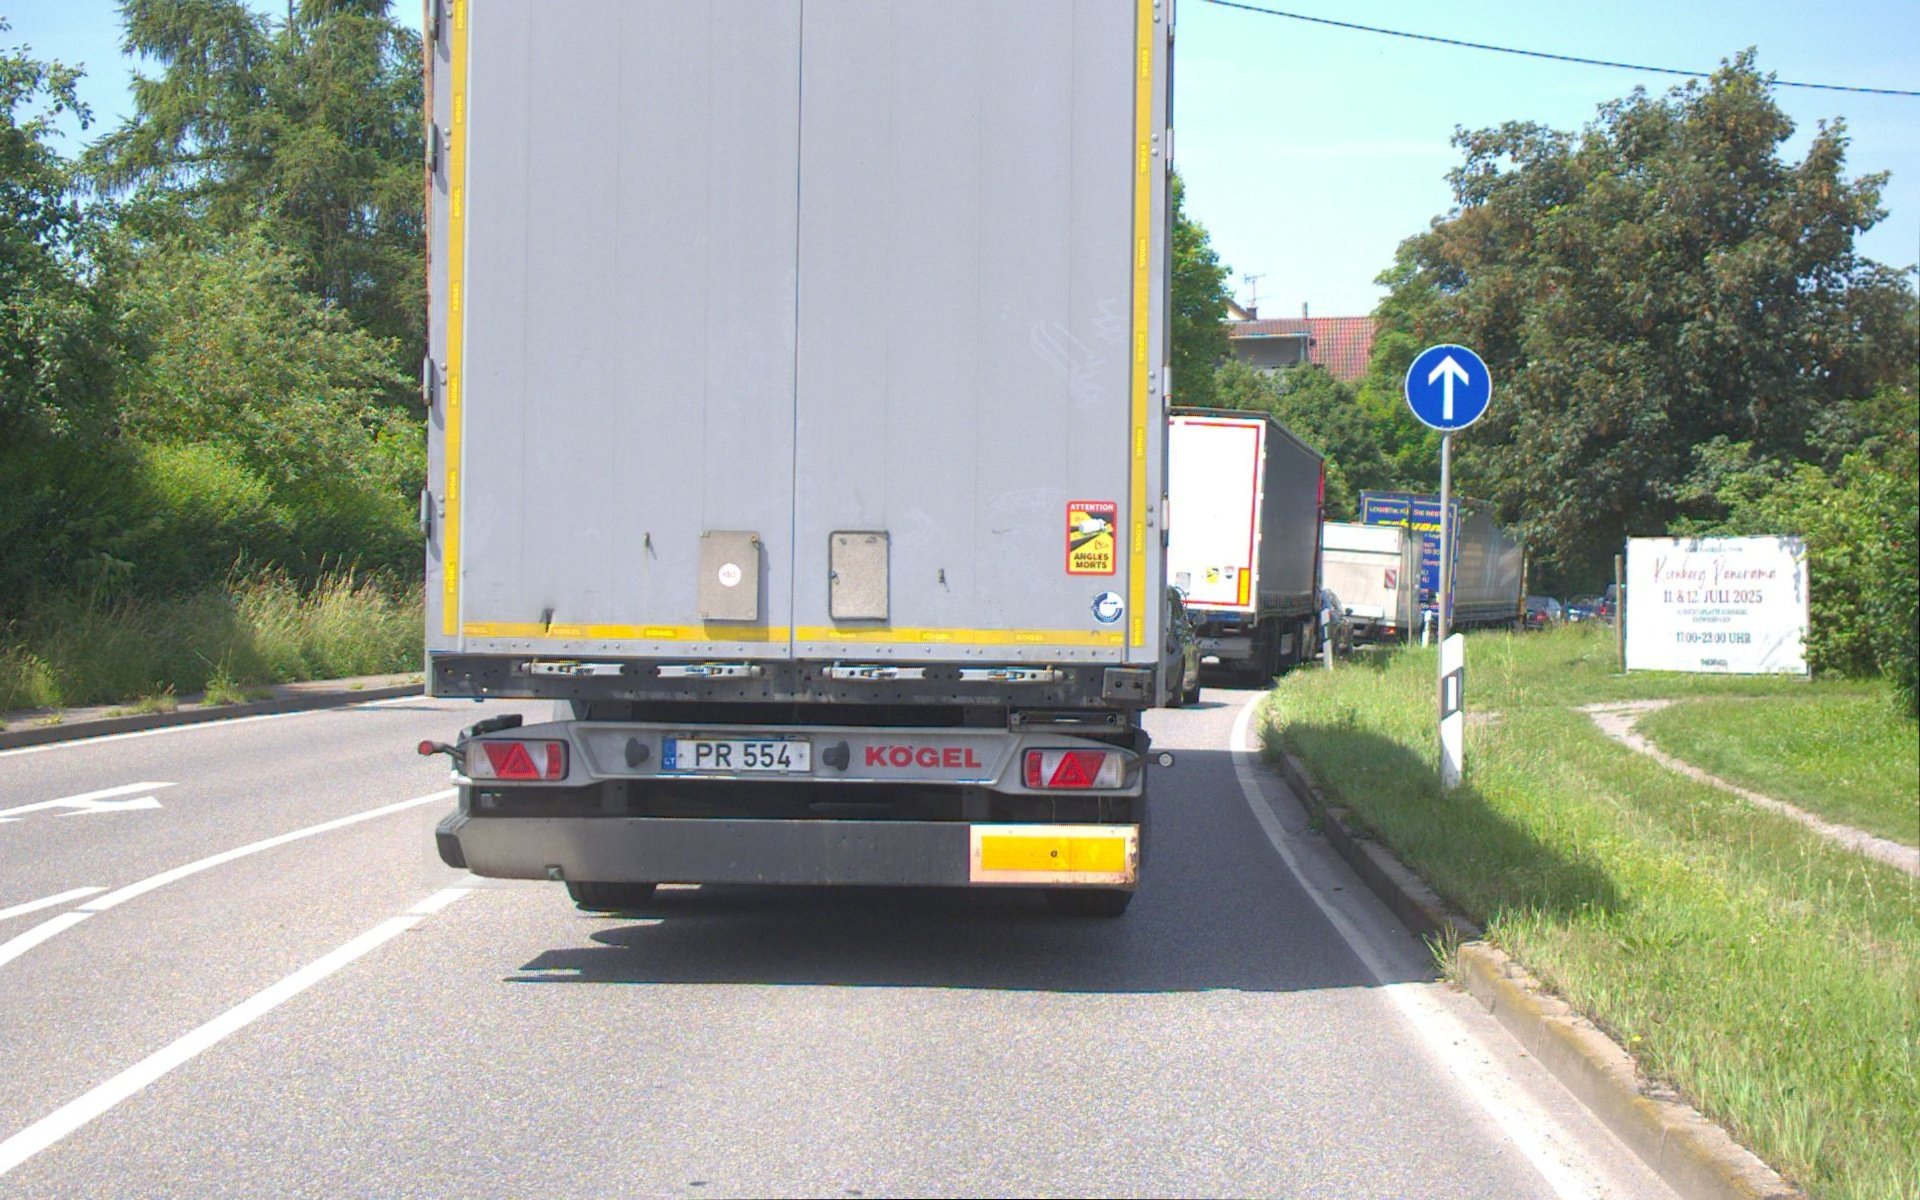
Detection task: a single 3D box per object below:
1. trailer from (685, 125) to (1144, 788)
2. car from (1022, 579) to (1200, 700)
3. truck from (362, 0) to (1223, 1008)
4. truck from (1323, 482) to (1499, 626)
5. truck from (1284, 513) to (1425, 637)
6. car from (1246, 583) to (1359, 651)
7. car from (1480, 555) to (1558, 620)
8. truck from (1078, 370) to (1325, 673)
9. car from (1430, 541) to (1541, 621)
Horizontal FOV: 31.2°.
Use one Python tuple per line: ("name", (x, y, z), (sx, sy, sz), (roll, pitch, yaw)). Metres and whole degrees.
("trailer", (-0.123, -0.956, 24.628), (2.825, 4.097, 6.544), (0, 1, 3))
("car", (1.851, 0.448, 41.056), (1.819, 1.342, 3.846), (1, 0, 7))
("truck", (-0.396, -0.829, 17.157), (2.822, 4.113, 11.443), (1, 1, 2))
("truck", (12.088, -1.254, 91.361), (3.435, 3.592, 9.347), (1, 1, 15))
("truck", (9.397, -0.577, 81.378), (2.545, 2.793, 6.028), (1, 0, 14))
("car", (7.330, 0.361, 73.243), (1.994, 1.371, 3.998), (1, 0, 11))
("car", (17.737, -0.385, 108.972), (1.995, 2.007, 3.997), (1, 0, 15))
("truck", (4.292, -1.115, 57.064), (2.761, 4.274, 16.409), (1, 0, 8))
("car", (15.722, -0.600, 102.578), (2.533, 2.269, 6.377), (1, 1, 15))
